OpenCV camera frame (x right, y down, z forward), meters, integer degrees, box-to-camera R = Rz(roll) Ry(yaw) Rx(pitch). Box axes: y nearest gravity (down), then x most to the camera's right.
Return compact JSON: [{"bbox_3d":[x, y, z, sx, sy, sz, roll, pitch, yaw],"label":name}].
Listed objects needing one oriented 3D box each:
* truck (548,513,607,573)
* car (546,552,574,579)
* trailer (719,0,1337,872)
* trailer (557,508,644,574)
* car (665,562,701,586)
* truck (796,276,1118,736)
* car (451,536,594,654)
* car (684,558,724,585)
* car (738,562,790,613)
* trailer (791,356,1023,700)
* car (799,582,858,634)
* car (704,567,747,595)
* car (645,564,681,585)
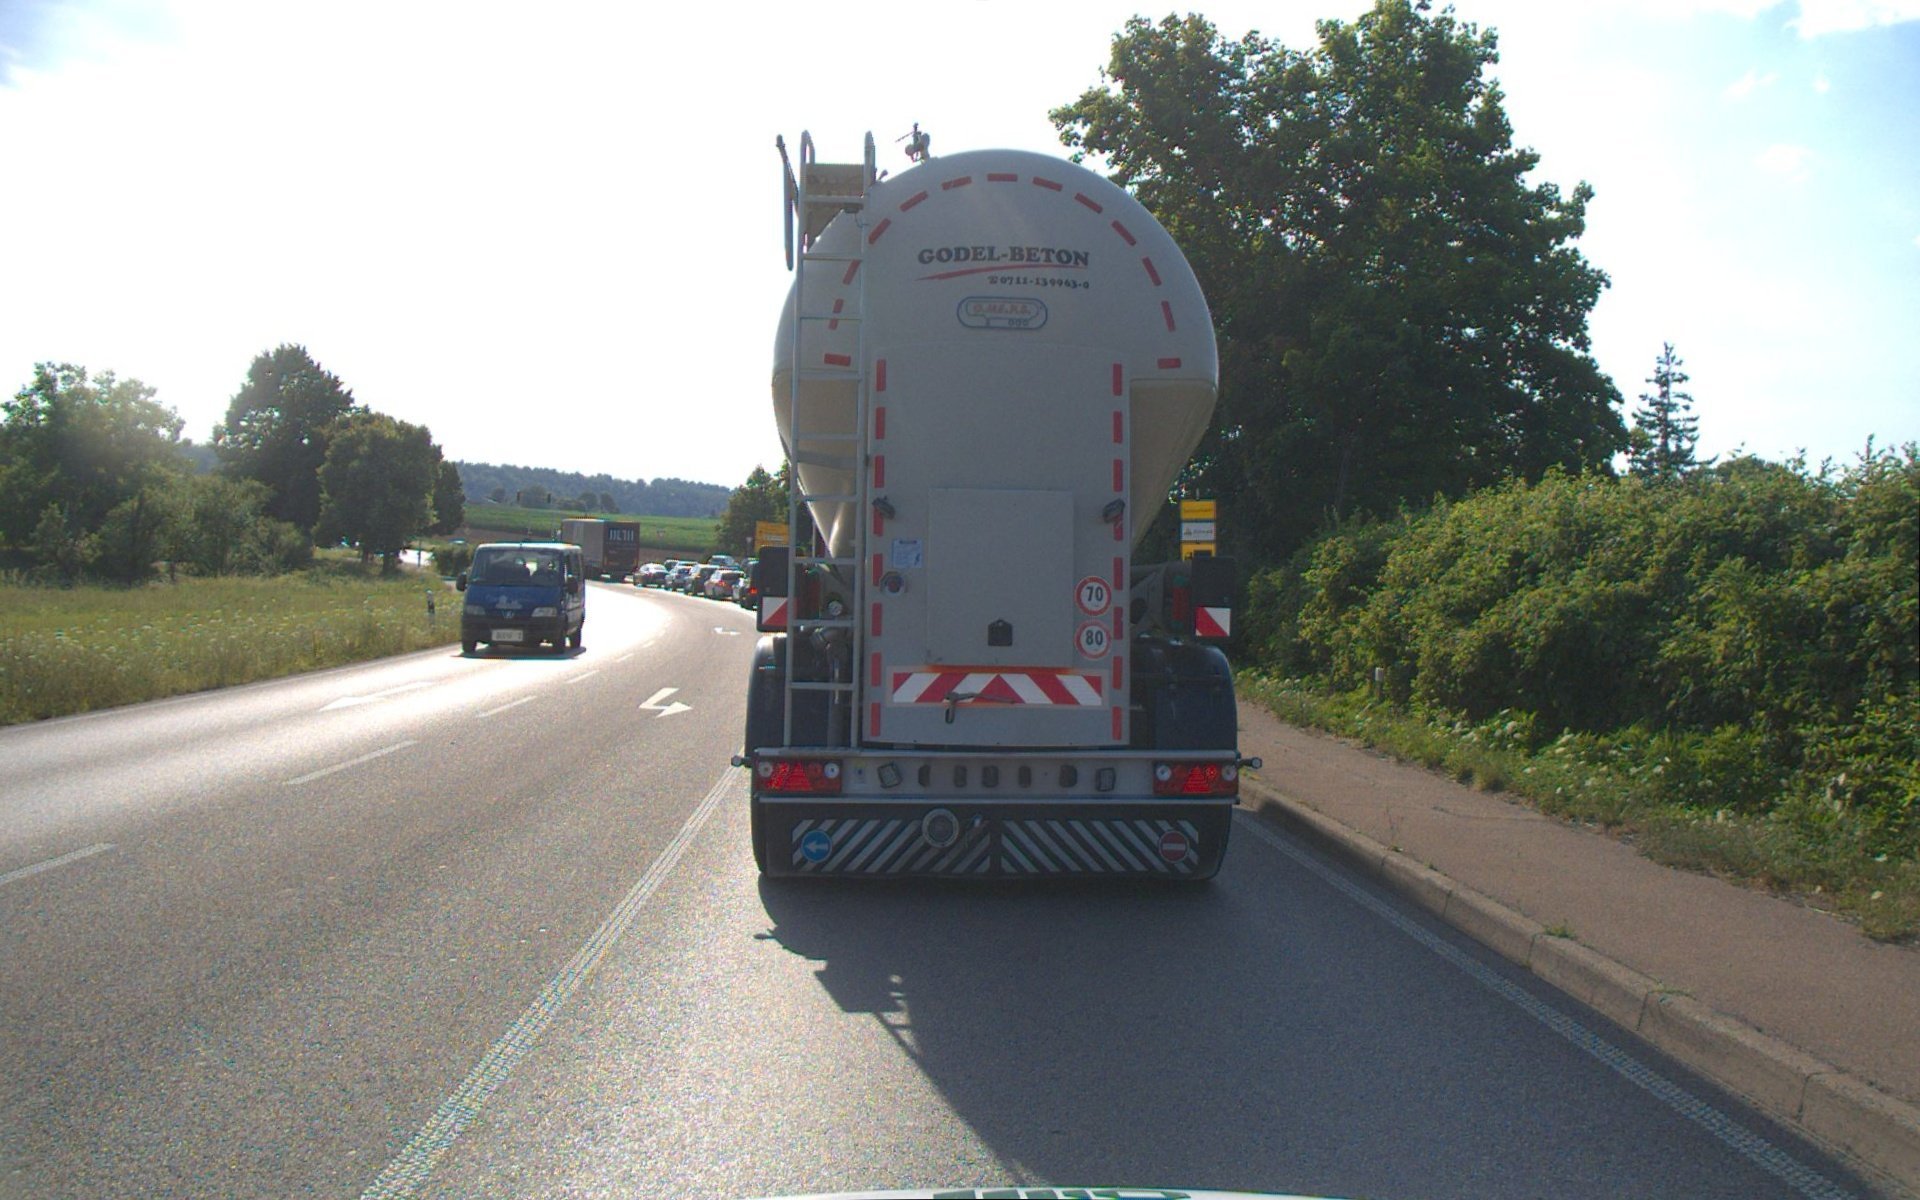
[{"bbox_3d":[-29.750,-4.429,128.485,3.332,4.426,5.663,2,1,-24],"label":"truck"},{"bbox_3d":[-26.857,-2.328,110.918,1.412,1.713,3.486,3,0,-19],"label":"car"},{"bbox_3d":[0.078,-0.815,12.681,2.851,4.076,9.924,1,0,-3],"label":"trailer"},{"bbox_3d":[-26.472,-4.219,121.041,3.331,4.426,14.187,2,1,-24],"label":"trailer"},{"bbox_3d":[-16.361,-1.533,97.586,1.556,1.364,3.408,2,1,-18],"label":"car"},{"bbox_3d":[-0.132,-0.845,16.864,2.852,4.076,4.057,1,0,-3],"label":"truck"},{"bbox_3d":[-8.712,-0.116,33.340,1.959,2.174,4.774,1,0,-5],"label":"car"},{"bbox_3d":[-13.895,-1.537,89.668,1.556,1.364,3.408,2,1,-18],"label":"car"},{"bbox_3d":[-8.243,-0.525,69.351,1.829,2.049,3.708,1,1,-12],"label":"car"},{"bbox_3d":[-0.816,-1.011,28.713,2.895,4.390,14.172,2,1,-1],"label":"trailer"},{"bbox_3d":[-3.704,0.205,46.596,1.549,1.364,3.422,2,1,-5],"label":"car"},{"bbox_3d":[-11.869,-0.968,83.505,1.556,1.364,3.408,2,1,-18],"label":"car"},{"bbox_3d":[-18.724,-1.619,104.070,1.742,1.227,3.408,2,1,-18],"label":"car"}]
